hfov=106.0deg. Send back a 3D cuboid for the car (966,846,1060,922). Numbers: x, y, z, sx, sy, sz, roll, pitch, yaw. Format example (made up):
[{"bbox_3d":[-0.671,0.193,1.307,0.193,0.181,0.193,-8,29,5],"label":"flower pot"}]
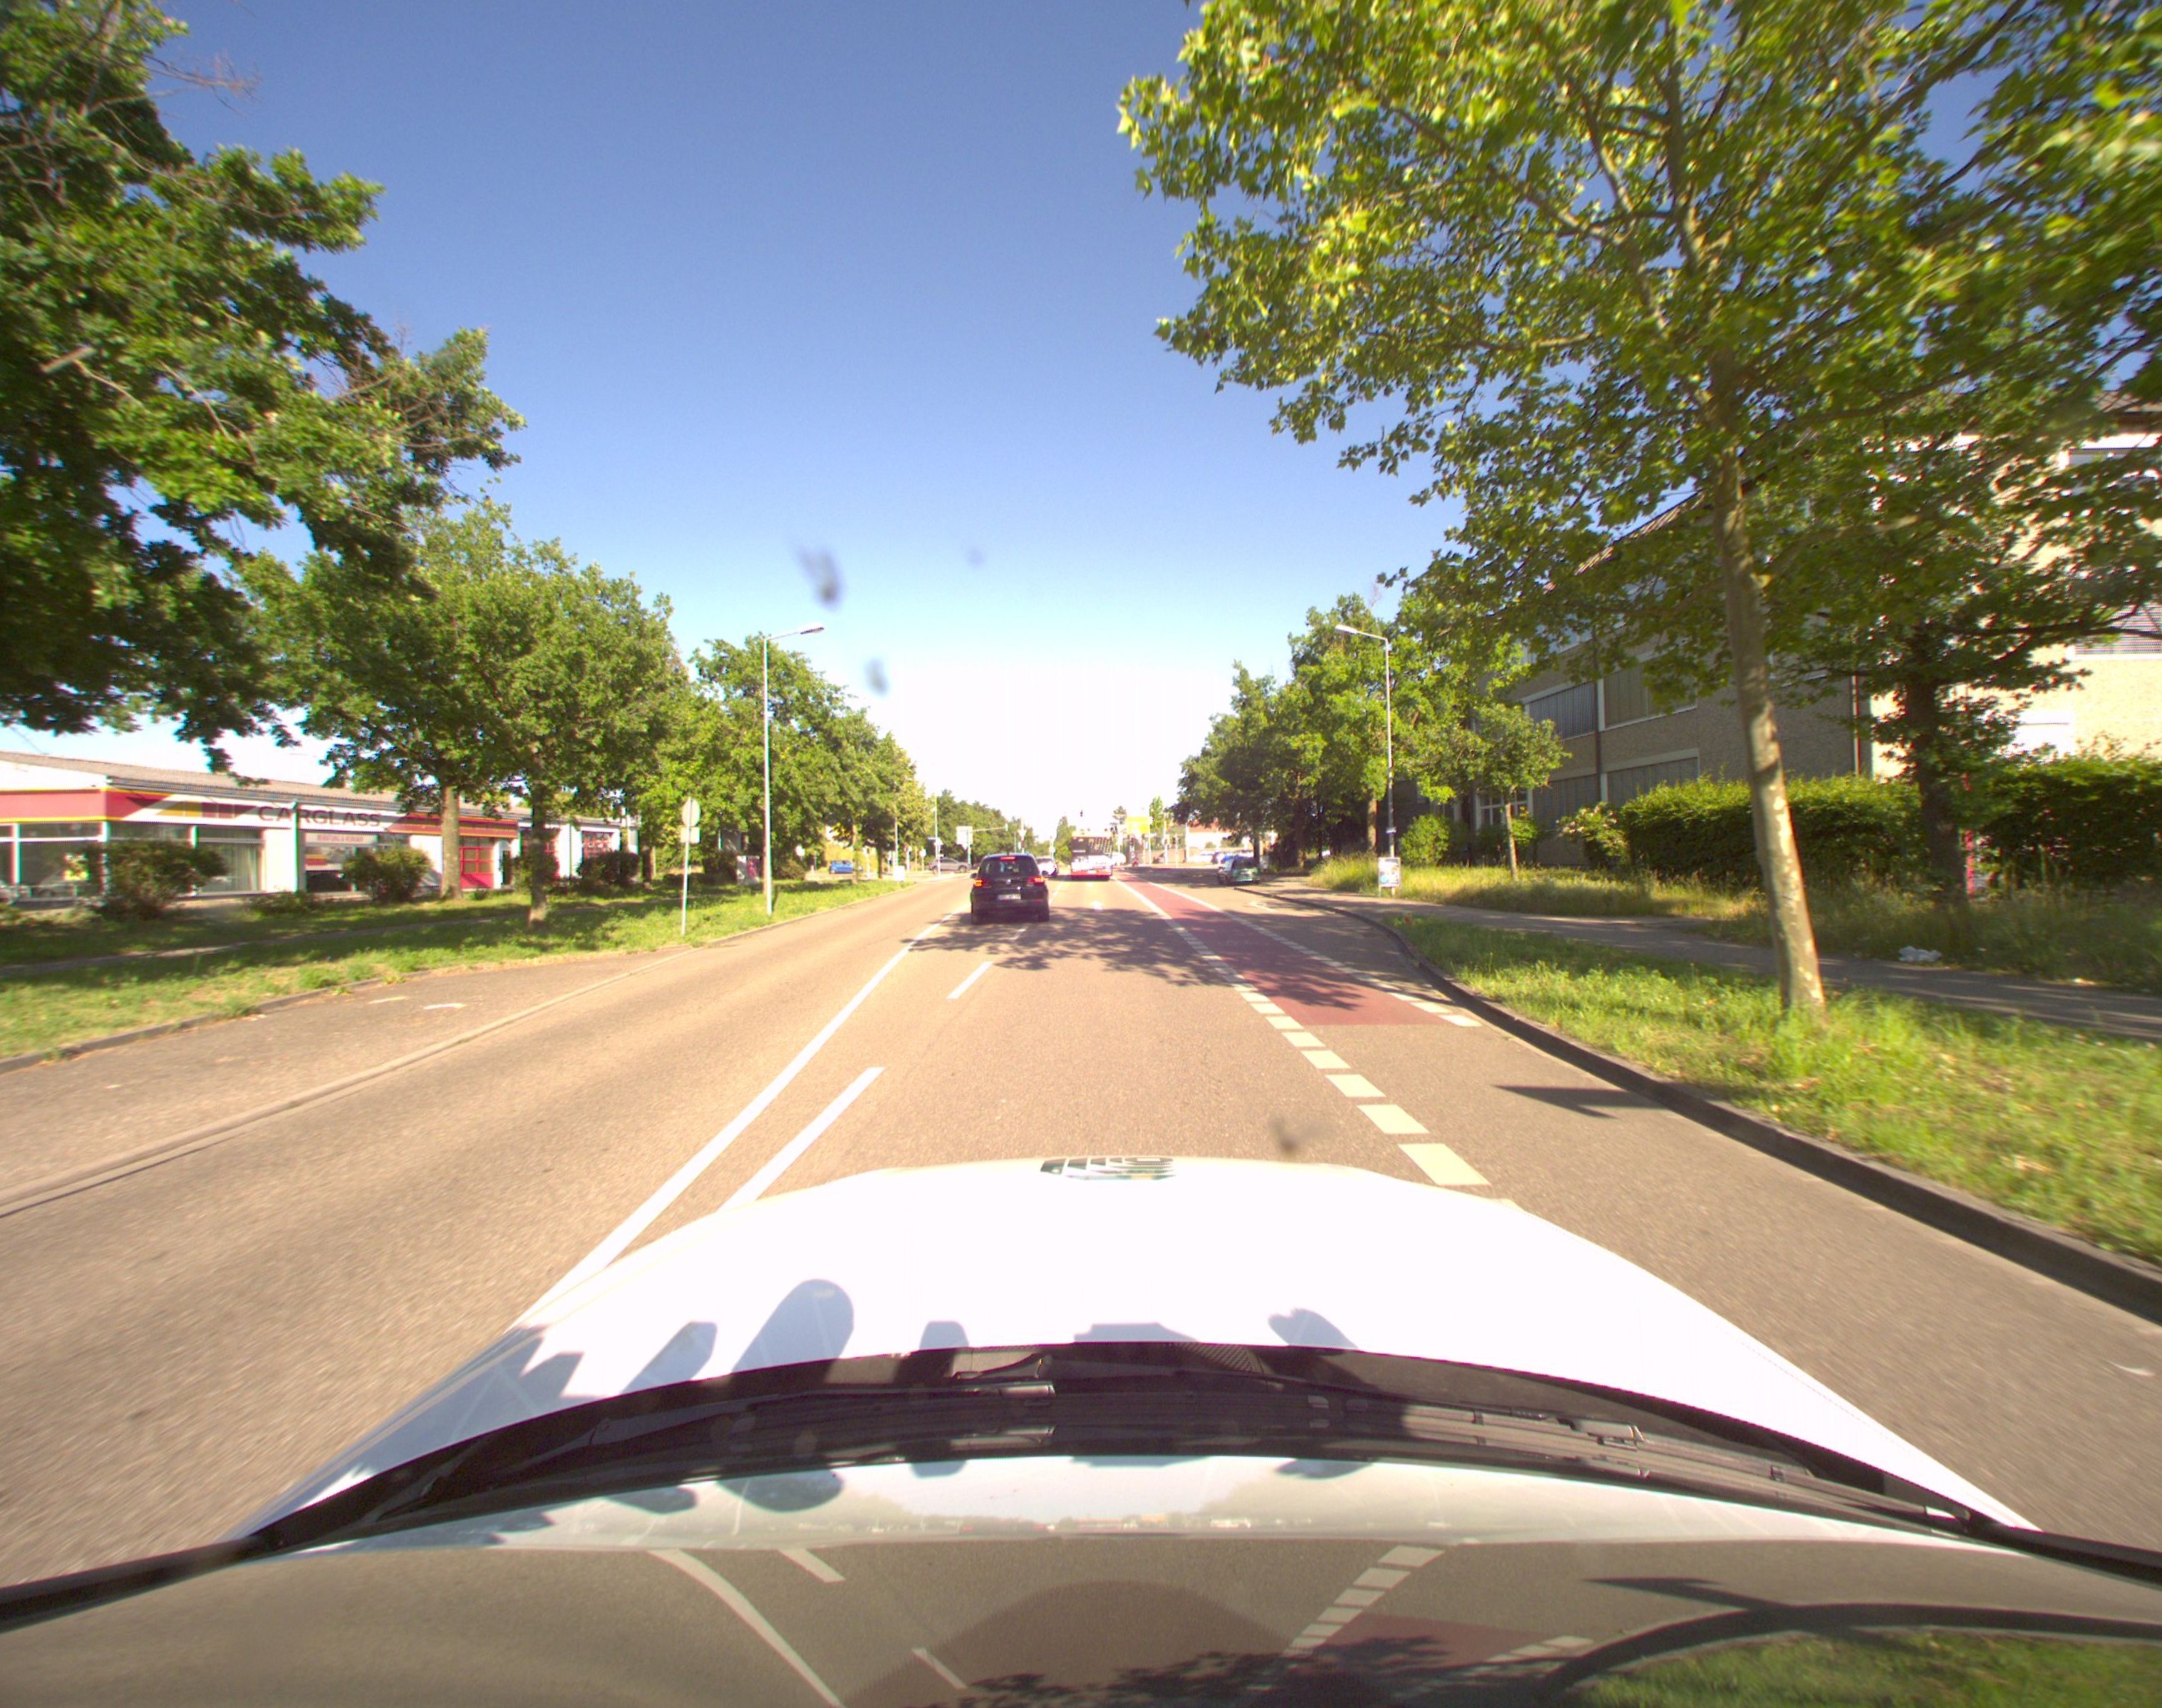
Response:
[{"bbox_3d":[-1.594,0.710,20.340,1.814,1.673,4.005,-1,-1,2],"label":"car"}]

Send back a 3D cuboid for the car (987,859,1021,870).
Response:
[{"bbox_3d":[-9.148,1.215,96.471,3.890,1.340,1.677,0,-1,-9],"label":"car"}]

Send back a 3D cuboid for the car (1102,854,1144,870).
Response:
[{"bbox_3d":[3.712,0.705,71.795,3.502,1.302,1.578,-1,0,8],"label":"car"}]

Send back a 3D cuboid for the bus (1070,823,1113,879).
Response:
[{"bbox_3d":[0.670,-0.165,54.971,2.588,3.334,11.982,0,0,0],"label":"bus"}]

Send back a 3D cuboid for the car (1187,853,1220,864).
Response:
[{"bbox_3d":[15.427,0.570,102.893,3.840,1.340,1.679,0,-1,-6],"label":"car"}]

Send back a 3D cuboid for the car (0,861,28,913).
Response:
[{"bbox_3d":[-32.822,0.979,23.074,3.590,1.498,1.590,-1,-1,-6],"label":"car"}]

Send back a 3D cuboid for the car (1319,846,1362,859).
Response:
[{"bbox_3d":[32.221,-0.233,101.116,4.693,1.540,1.997,-1,0,-4],"label":"car"}]

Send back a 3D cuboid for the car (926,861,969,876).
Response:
[{"bbox_3d":[-13.650,1.497,83.504,4.214,1.480,1.760,0,-1,-5],"label":"car"}]

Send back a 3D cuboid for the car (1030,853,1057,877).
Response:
[{"bbox_3d":[-2.804,0.772,60.048,1.751,1.620,4.025,-1,1,-6],"label":"car"}]

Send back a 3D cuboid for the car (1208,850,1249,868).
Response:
[{"bbox_3d":[15.699,0.523,86.934,3.980,1.880,1.997,0,-1,-5],"label":"car"}]

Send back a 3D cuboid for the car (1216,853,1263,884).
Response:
[{"bbox_3d":[8.058,0.733,41.697,1.587,1.428,4.204,-3,-1,1],"label":"car"}]

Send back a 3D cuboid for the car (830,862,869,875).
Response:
[{"bbox_3d":[-25.196,1.583,88.847,3.844,1.385,1.677,0,-1,-9],"label":"car"}]

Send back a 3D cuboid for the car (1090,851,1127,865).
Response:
[{"bbox_3d":[3.272,0.495,98.053,4.376,1.683,1.709,0,-1,-5],"label":"car"}]
